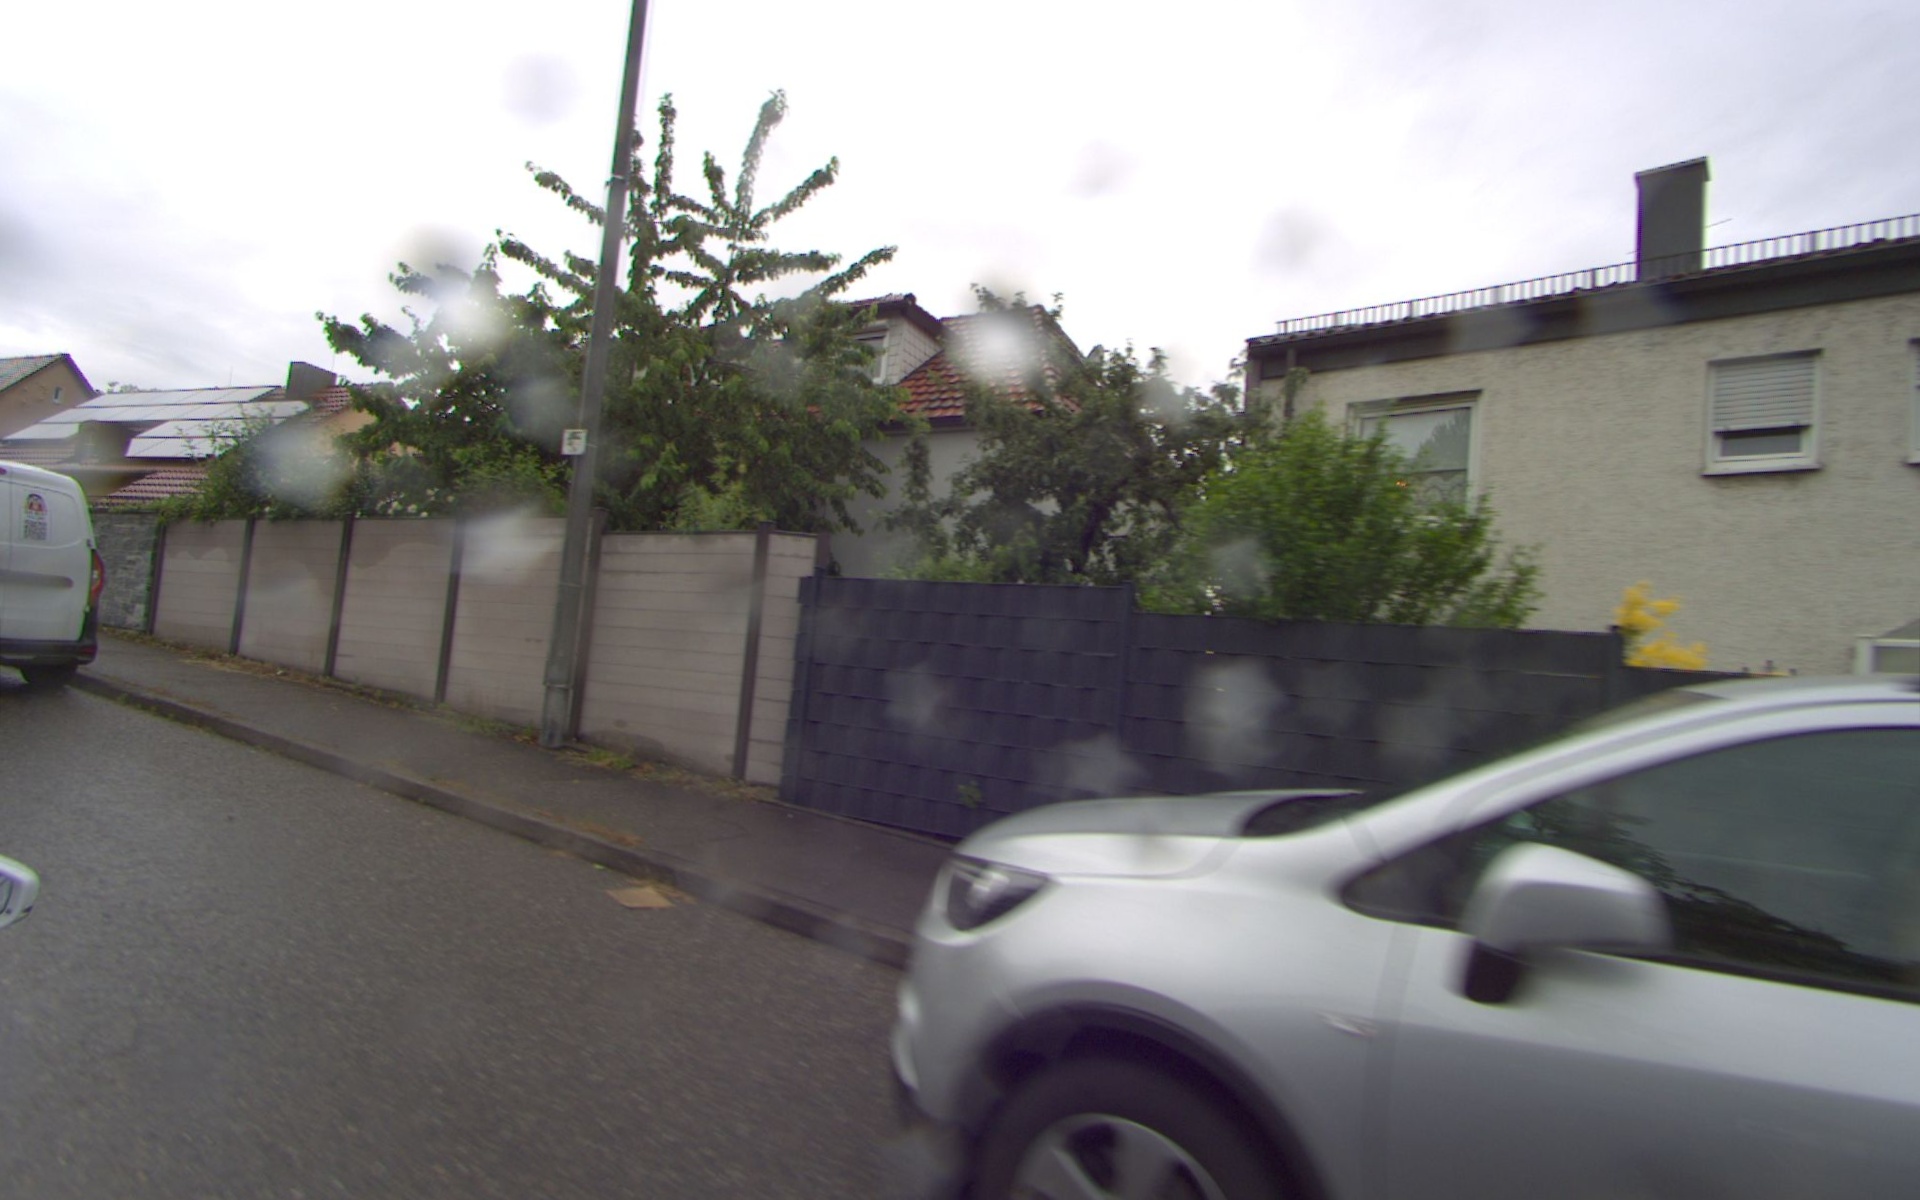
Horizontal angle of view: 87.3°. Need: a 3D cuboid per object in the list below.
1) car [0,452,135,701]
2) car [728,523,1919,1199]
[{"bbox_3d":[-9.170,-0.419,8.295,4.624,1.824,1.784,7,-2,27],"label":"car"},{"bbox_3d":[1.770,0.904,2.129,4.216,1.647,1.806,7,0,31],"label":"car"}]
